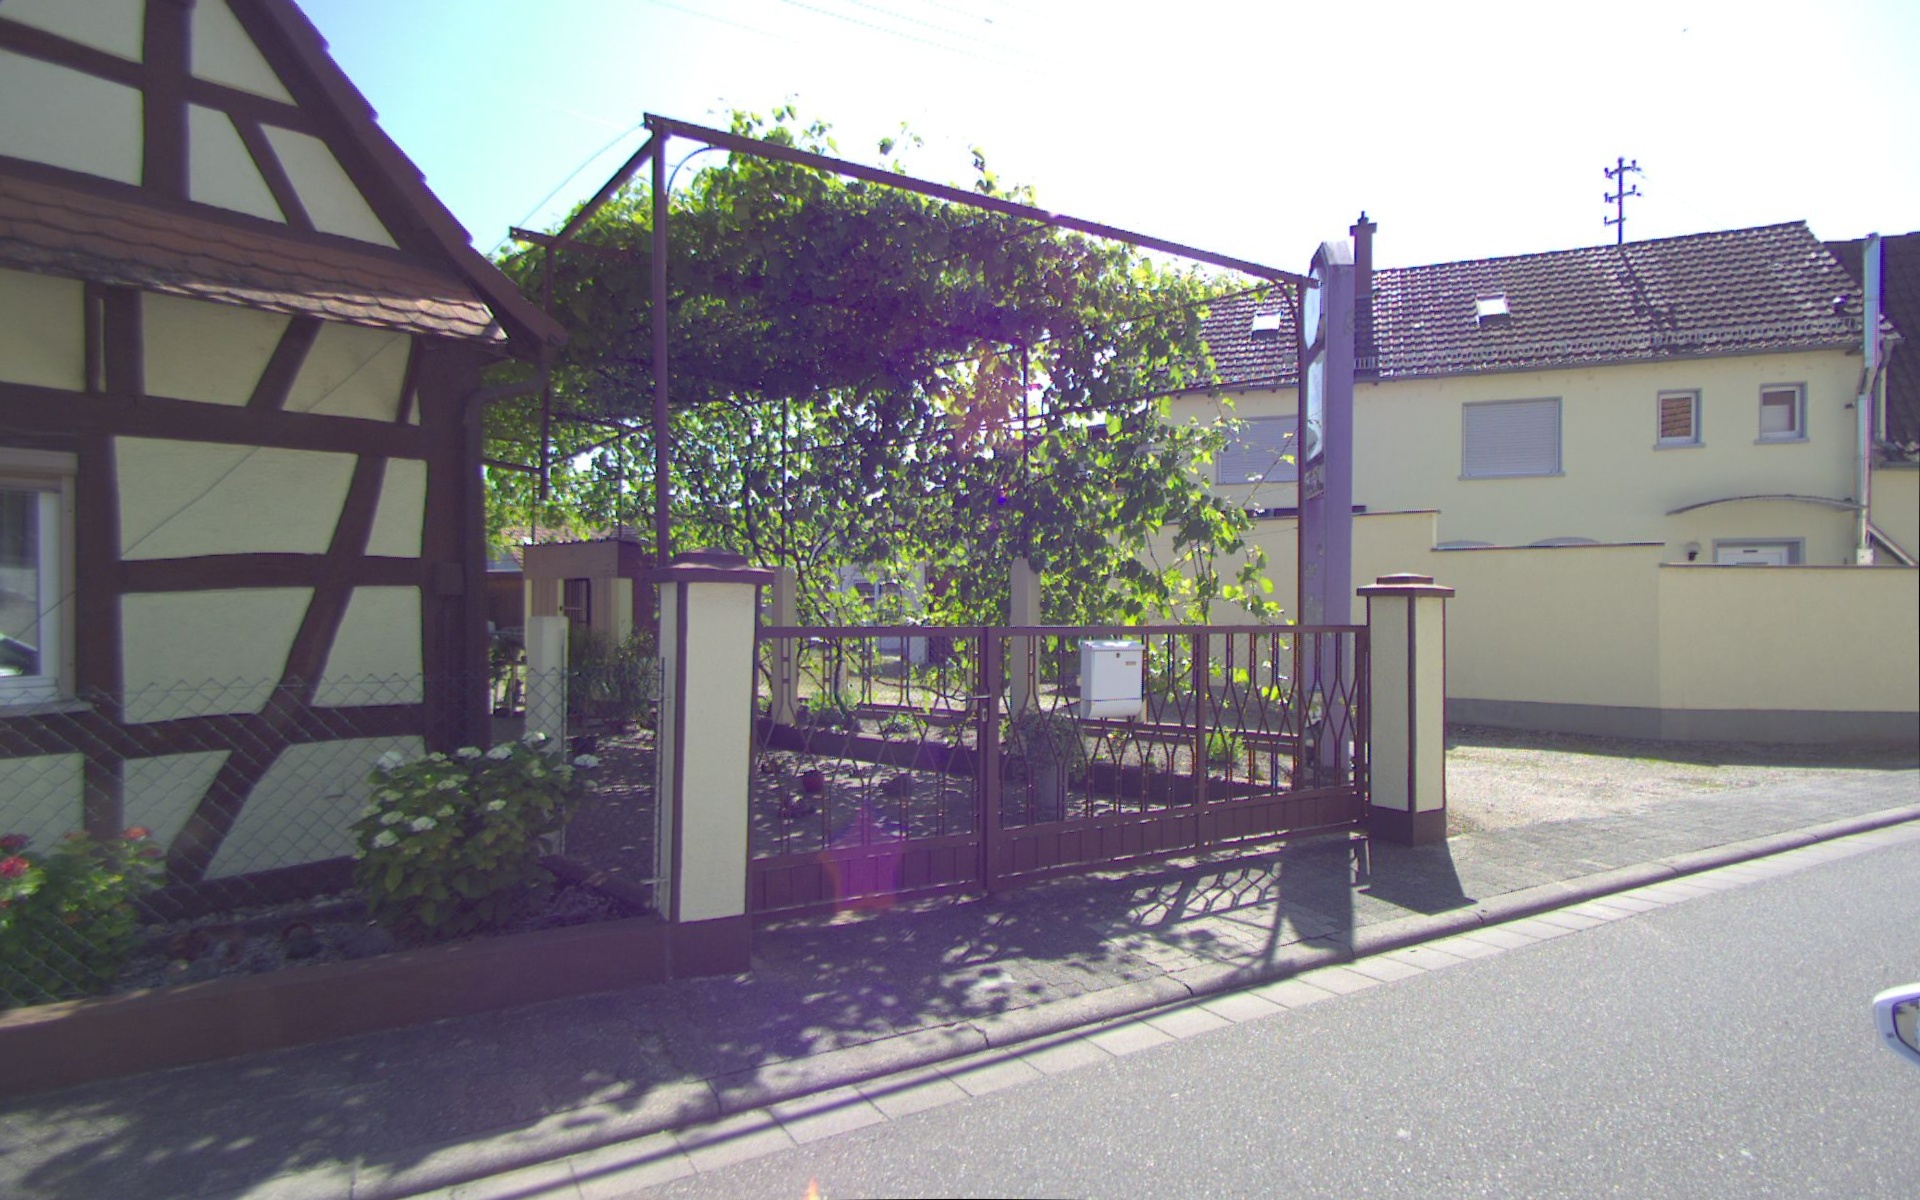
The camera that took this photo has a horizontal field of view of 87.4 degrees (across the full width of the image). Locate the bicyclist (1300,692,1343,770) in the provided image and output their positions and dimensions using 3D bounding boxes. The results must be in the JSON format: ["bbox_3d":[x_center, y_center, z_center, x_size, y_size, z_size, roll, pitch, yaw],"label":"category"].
[{"bbox_3d":[2.920,1.053,8.120,0.215,0.590,0.246,1,0,-15],"label":"bicyclist"}]

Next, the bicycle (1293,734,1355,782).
[{"bbox_3d":[2.926,1.267,8.097,0.216,0.309,0.534,1,-1,-14],"label":"bicycle"}]
